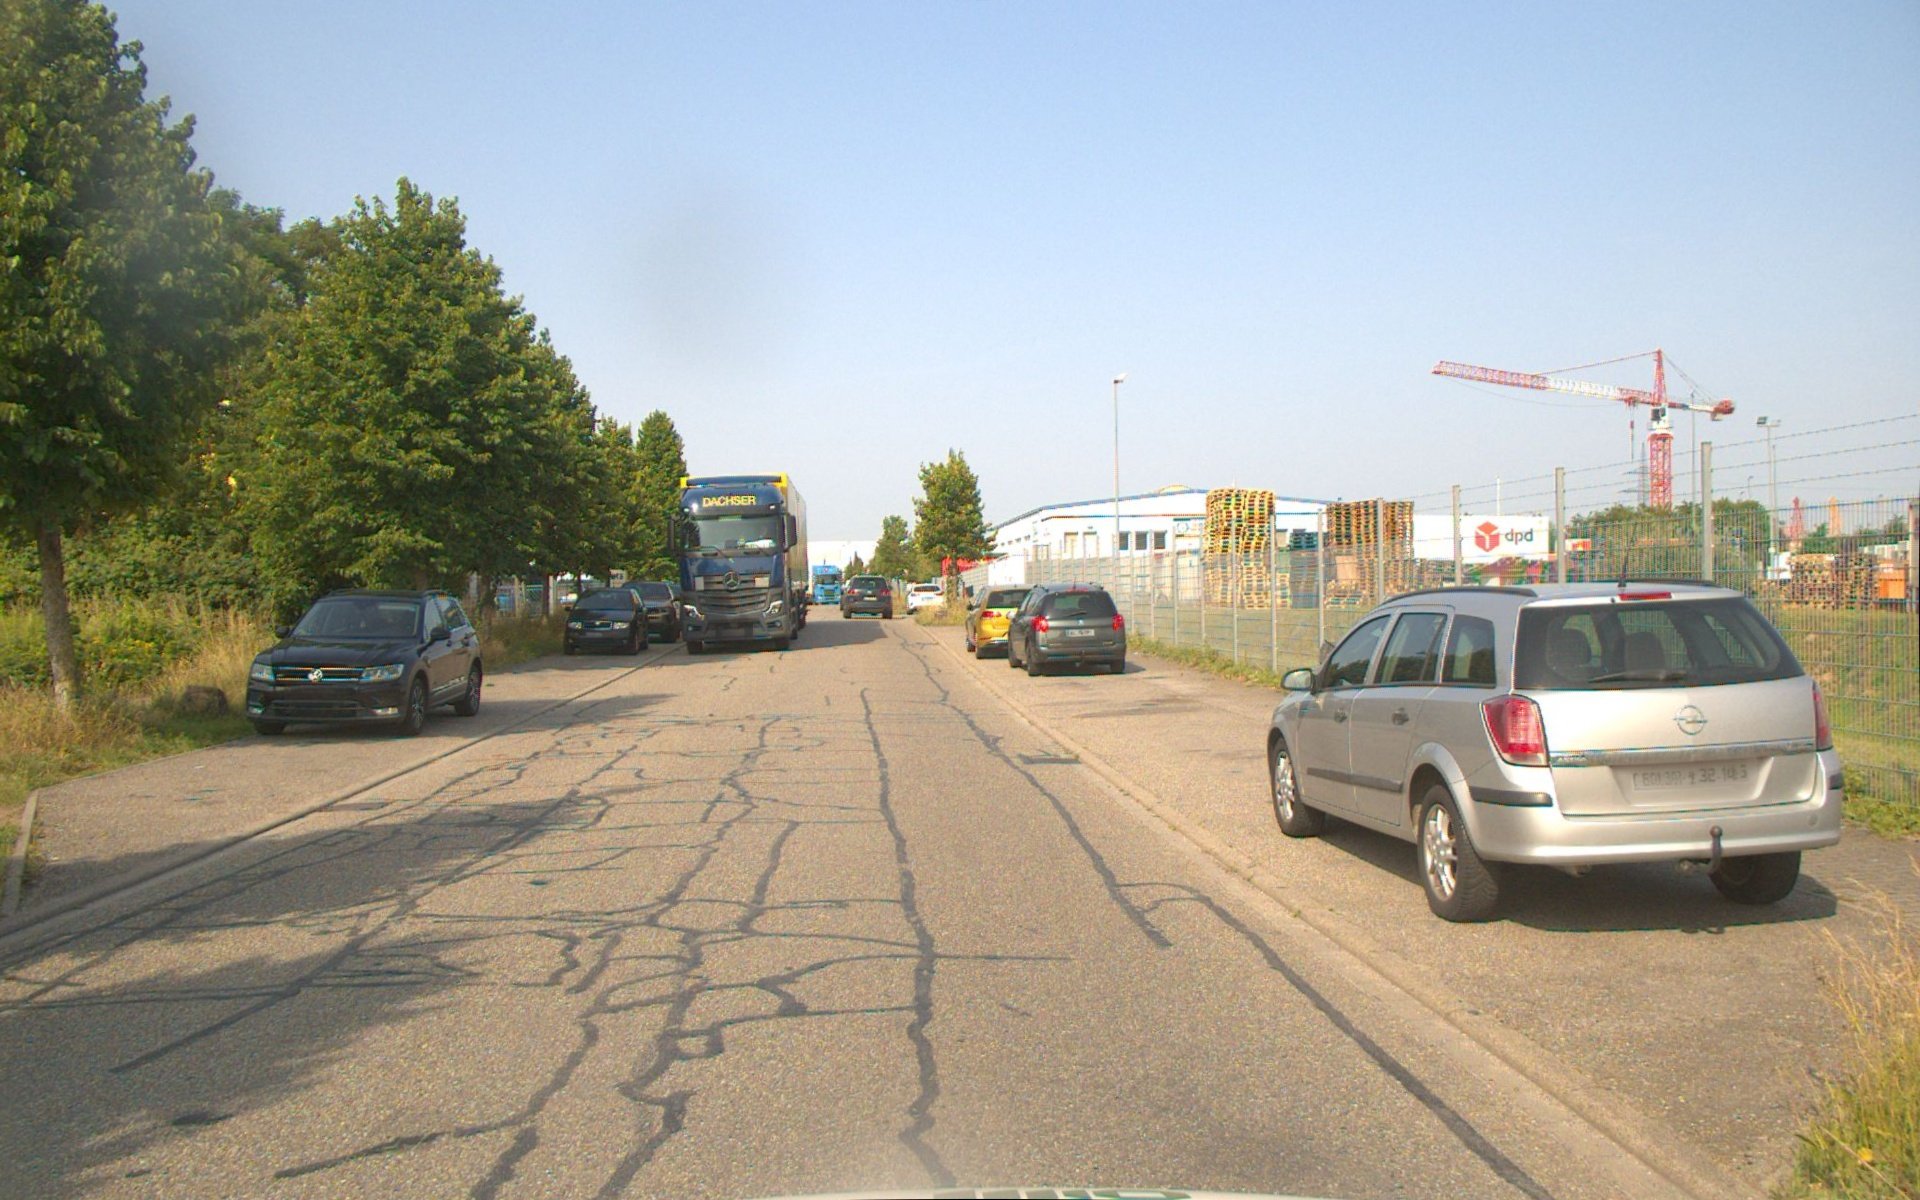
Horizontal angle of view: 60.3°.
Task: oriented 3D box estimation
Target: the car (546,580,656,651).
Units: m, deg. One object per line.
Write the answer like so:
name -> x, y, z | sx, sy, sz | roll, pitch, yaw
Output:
car -> -8.149, 0.317, 37.846 | 1.796, 1.522, 4.047 | 1, 1, -3

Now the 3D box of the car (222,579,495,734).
car -> -7.092, 0.578, 20.028 | 1.865, 1.654, 4.447 | 1, 1, -3

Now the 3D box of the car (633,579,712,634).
car -> -8.396, 0.156, 48.571 | 1.796, 1.522, 4.047 | 1, 1, -3

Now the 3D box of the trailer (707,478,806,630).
trailer -> -6.176, -1.368, 51.327 | 2.449, 4.217, 8.490 | -3, 1, -4

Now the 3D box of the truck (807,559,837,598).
truck -> -13.572, -2.109, 162.679 | 2.823, 3.826, 6.077 | -1, 1, -6

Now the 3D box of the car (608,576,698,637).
car -> -8.075, 0.133, 43.829 | 1.796, 1.522, 4.047 | 1, 1, -3

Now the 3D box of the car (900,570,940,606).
car -> -1.962, -0.597, 80.498 | 1.681, 1.709, 3.946 | -1, 1, -5

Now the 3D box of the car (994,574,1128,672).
car -> 1.713, 0.354, 29.228 | 1.682, 1.541, 3.999 | -3, 1, -6

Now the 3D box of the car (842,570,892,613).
car -> -3.695, -0.346, 66.316 | 1.842, 1.614, 4.112 | -1, 0, -1

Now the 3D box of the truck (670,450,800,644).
truck -> -5.493, -1.246, 41.911 | 2.449, 4.217, 10.370 | -3, 1, -4

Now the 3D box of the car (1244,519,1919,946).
car -> 2.977, 0.507, 8.988 | 1.763, 1.654, 4.446 | -3, 1, -4

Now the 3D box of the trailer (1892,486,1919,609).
trailer -> 35.007, -1.655, 53.637 | 7.793, 3.961, 2.745 | 1, 2, 15

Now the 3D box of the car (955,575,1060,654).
car -> 0.936, 0.257, 34.808 | 1.681, 1.480, 4.183 | -3, 1, -5
